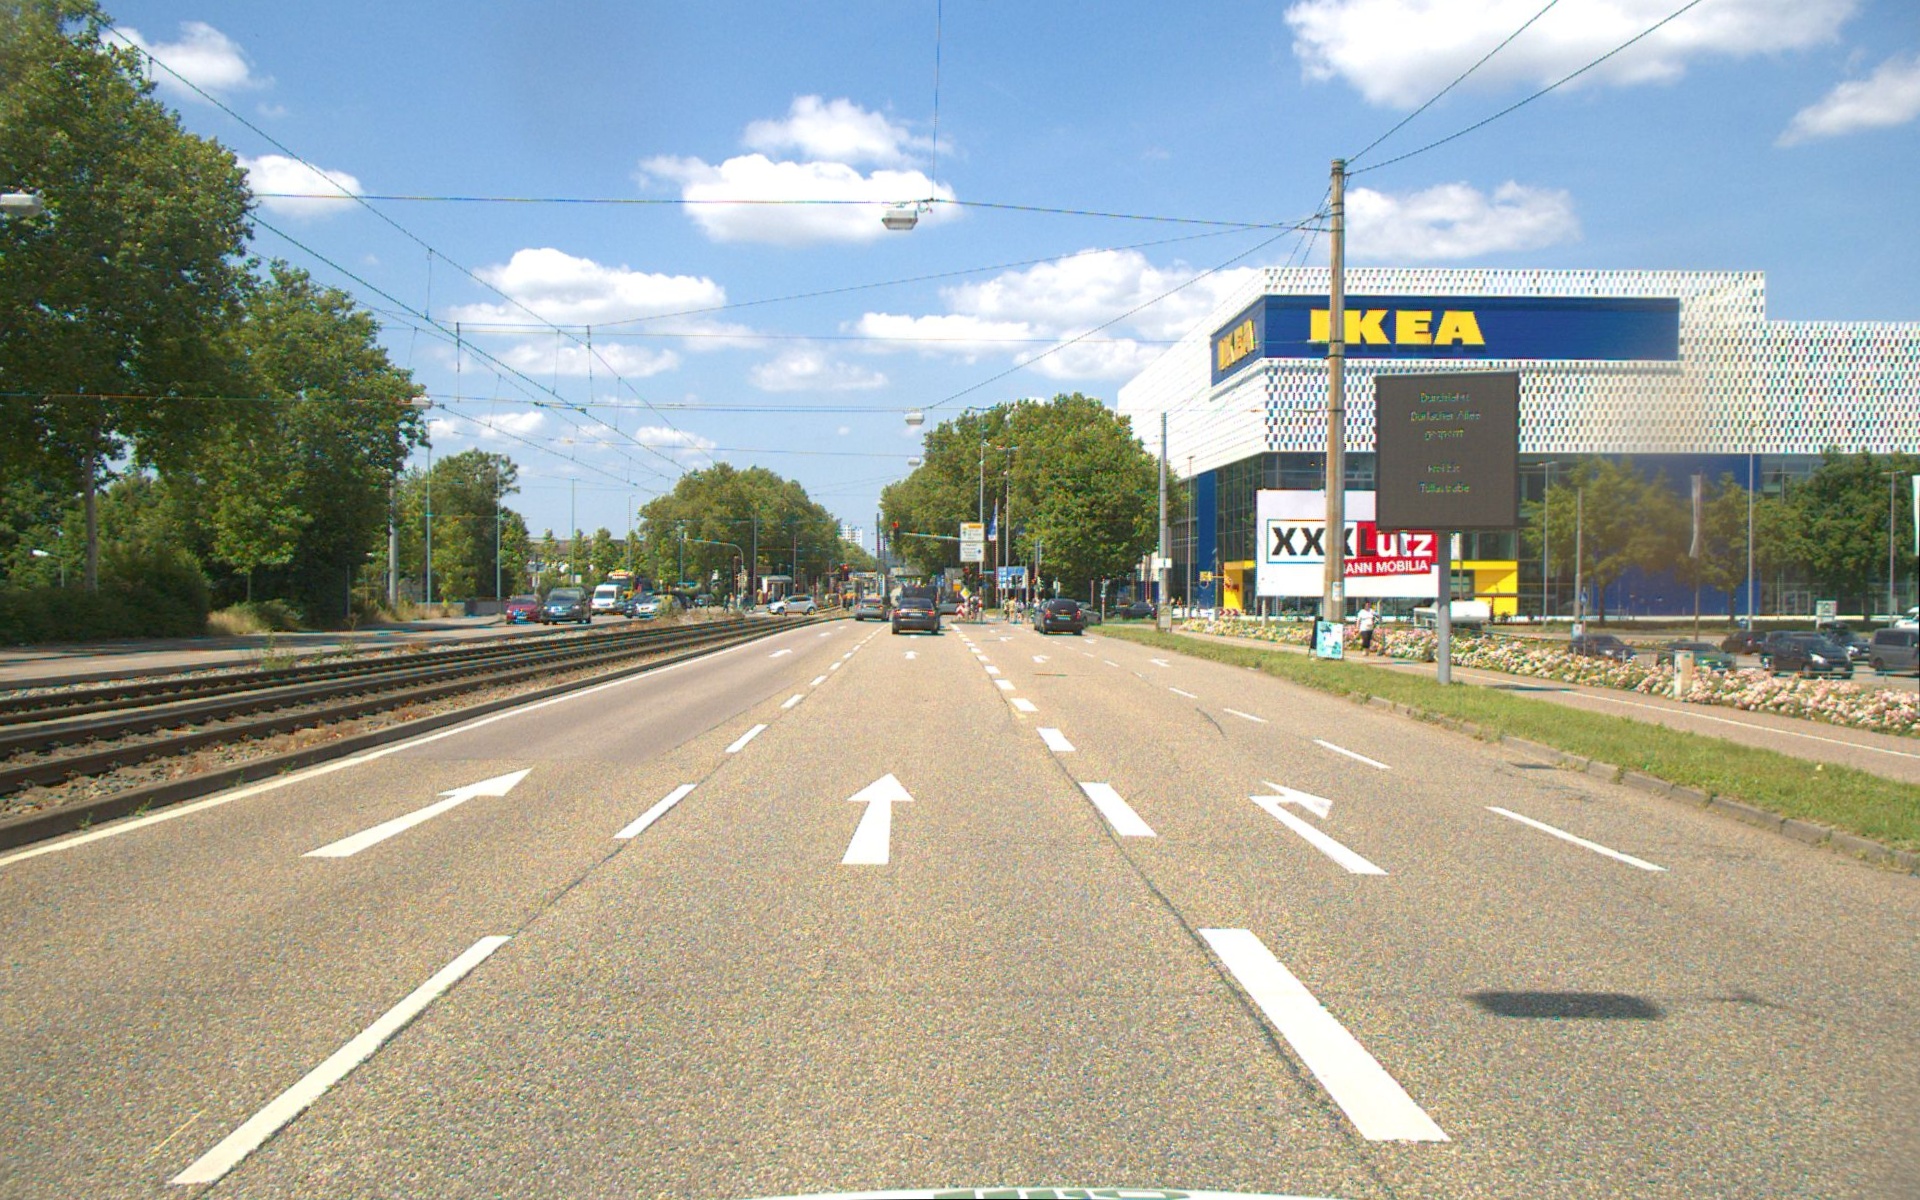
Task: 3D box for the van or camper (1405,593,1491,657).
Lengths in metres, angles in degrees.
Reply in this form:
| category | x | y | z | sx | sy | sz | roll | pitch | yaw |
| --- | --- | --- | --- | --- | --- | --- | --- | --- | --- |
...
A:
| category | x | y | z | sx | sy | sz | roll | pitch | yaw |
| --- | --- | --- | --- | --- | --- | --- | --- | --- | --- |
| van or camper | 24.896 | 1.208 | 84.679 | 2.455 | 3.073 | 7.225 | 1 | 0 | 2 |

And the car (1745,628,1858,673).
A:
| category | x | y | z | sx | sy | sz | roll | pitch | yaw |
| --- | --- | --- | --- | --- | --- | --- | --- | --- | --- |
| car | 34.124 | 2.017 | 67.219 | 1.953 | 1.577 | 4.999 | 2 | 0 | -1 |

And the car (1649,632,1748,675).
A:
| category | x | y | z | sx | sy | sz | roll | pitch | yaw |
| --- | --- | --- | --- | --- | --- | --- | --- | --- | --- |
| car | 29.643 | 2.129 | 66.548 | 1.953 | 1.523 | 4.302 | -2 | 0 | -1 |

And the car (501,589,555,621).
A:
| category | x | y | z | sx | sy | sz | roll | pitch | yaw |
| --- | --- | --- | --- | --- | --- | --- | --- | --- | --- |
| car | -23.645 | 0.260 | 90.711 | 1.954 | 1.699 | 4.465 | -1 | 0 | -3 |

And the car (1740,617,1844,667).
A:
| category | x | y | z | sx | sy | sz | roll | pitch | yaw |
| --- | --- | --- | --- | --- | --- | --- | --- | --- | --- |
| car | 36.510 | 1.812 | 72.727 | 1.953 | 2.049 | 4.999 | -1 | 0 | -1 |

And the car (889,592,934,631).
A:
| category | x | y | z | sx | sy | sz | roll | pitch | yaw |
| --- | --- | --- | --- | --- | --- | --- | --- | --- | --- |
| car | -1.914 | 0.424 | 65.881 | 1.756 | 1.480 | 3.999 | 0 | 0 | -1 |

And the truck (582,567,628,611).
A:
| category | x | y | z | sx | sy | sz | roll | pitch | yaw |
| --- | --- | --- | --- | --- | --- | --- | --- | --- | --- |
| truck | -30.468 | -0.954 | 142.101 | 2.711 | 3.631 | 6.437 | 1 | 0 | -2 |

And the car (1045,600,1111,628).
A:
| category | x | y | z | sx | sy | sz | roll | pitch | yaw |
| --- | --- | --- | --- | --- | --- | --- | --- | --- | --- |
| car | 6.933 | 0.826 | 96.748 | 1.960 | 1.512 | 4.130 | 3 | 0 | 35 |

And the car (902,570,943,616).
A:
| category | x | y | z | sx | sy | sz | roll | pitch | yaw |
| --- | --- | --- | --- | --- | --- | --- | --- | --- | --- |
| car | -1.744 | -0.336 | 75.947 | 1.799 | 1.984 | 3.999 | 1 | 2 | -2 |

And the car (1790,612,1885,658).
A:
| category | x | y | z | sx | sy | sz | roll | pitch | yaw |
| --- | --- | --- | --- | --- | --- | --- | --- | --- | --- |
| car | 43.840 | 1.715 | 82.788 | 1.953 | 2.172 | 4.999 | 2 | 0 | -1 |

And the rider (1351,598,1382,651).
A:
| category | x | y | z | sx | sy | sz | roll | pitch | yaw |
| --- | --- | --- | --- | --- | --- | --- | --- | --- | --- |
| rider | 11.437 | 0.679 | 46.536 | 0.655 | 1.483 | 0.618 | 1 | 0 | -2 |

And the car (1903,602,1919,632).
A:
| category | x | y | z | sx | sy | sz | roll | pitch | yaw |
| --- | --- | --- | --- | --- | --- | --- | --- | --- | --- |
| car | 79.553 | 1.428 | 134.431 | 4.658 | 2.349 | 2.002 | 1 | 0 | 9 |

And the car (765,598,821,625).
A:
| category | x | y | z | sx | sy | sz | roll | pitch | yaw |
| --- | --- | --- | --- | --- | --- | --- | --- | --- | --- |
| car | -12.792 | 0.849 | 126.759 | 3.925 | 1.881 | 1.990 | -2 | 1 | -18 |

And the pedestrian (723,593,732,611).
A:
| category | x | y | z | sx | sy | sz | roll | pitch | yaw |
| --- | --- | --- | --- | --- | --- | --- | --- | --- | --- |
| pedestrian | -18.953 | 0.167 | 134.858 | 0.672 | 1.468 | 0.572 | 1 | 0 | -5 |

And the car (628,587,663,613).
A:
| category | x | y | z | sx | sy | sz | roll | pitch | yaw |
| --- | --- | --- | --- | --- | --- | --- | --- | --- | --- |
| car | -20.595 | -0.028 | 108.368 | 1.652 | 1.611 | 4.056 | -2 | 0 | -3 |

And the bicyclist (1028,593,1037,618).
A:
| category | x | y | z | sx | sy | sz | roll | pitch | yaw |
| --- | --- | --- | --- | --- | --- | --- | --- | --- | --- |
| bicyclist | 5.448 | 0.418 | 123.611 | 0.517 | 1.795 | 0.828 | 1 | 0 | 12 |

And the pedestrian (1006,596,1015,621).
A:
| category | x | y | z | sx | sy | sz | roll | pitch | yaw |
| --- | --- | --- | --- | --- | --- | --- | --- | --- | --- |
| pedestrian | 3.398 | 0.572 | 111.559 | 0.542 | 1.663 | 0.433 | 1 | 0 | 1 |

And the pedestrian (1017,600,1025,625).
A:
| category | x | y | z | sx | sy | sz | roll | pitch | yaw |
| --- | --- | --- | --- | --- | --- | --- | --- | --- | --- |
| pedestrian | 4.117 | 0.860 | 111.622 | 0.436 | 1.663 | 0.430 | 1 | 0 | 1 |

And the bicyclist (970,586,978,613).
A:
| category | x | y | z | sx | sy | sz | roll | pitch | yaw |
| --- | --- | --- | --- | --- | --- | --- | --- | --- | --- |
| bicyclist | 0.943 | -0.008 | 111.668 | 0.518 | 1.820 | 1.088 | 1 | 0 | -1 |

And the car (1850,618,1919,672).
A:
| category | x | y | z | sx | sy | sz | roll | pitch | yaw |
| --- | --- | --- | --- | --- | --- | --- | --- | --- | --- |
| car | 38.835 | 1.821 | 67.461 | 1.953 | 2.049 | 5.533 | 2 | 0 | -1 |

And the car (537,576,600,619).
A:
| category | x | y | z | sx | sy | sz | roll | pitch | yaw |
| --- | --- | --- | --- | --- | --- | --- | --- | --- | --- |
| car | -18.337 | -0.124 | 77.658 | 1.954 | 1.862 | 4.966 | -2 | 0 | -3 |

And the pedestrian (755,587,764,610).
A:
| category | x | y | z | sx | sy | sz | roll | pitch | yaw |
| --- | --- | --- | --- | --- | --- | --- | --- | --- | --- |
| pedestrian | -18.074 | -0.110 | 149.083 | 0.672 | 2.049 | 0.572 | 1 | 0 | -6 |

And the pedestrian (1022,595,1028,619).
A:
| category | x | y | z | sx | sy | sz | roll | pitch | yaw |
| --- | --- | --- | --- | --- | --- | --- | --- | --- | --- |
| pedestrian | 4.499 | 0.483 | 113.760 | 0.373 | 1.663 | 0.377 | 1 | 0 | 1 |

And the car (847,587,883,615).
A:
| category | x | y | z | sx | sy | sz | roll | pitch | yaw |
| --- | --- | --- | --- | --- | --- | --- | --- | --- | --- |
| car | -5.652 | 0.048 | 98.964 | 1.953 | 1.512 | 3.999 | 2 | 0 | -2 |

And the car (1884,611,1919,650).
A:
| category | x | y | z | sx | sy | sz | roll | pitch | yaw |
| --- | --- | --- | --- | --- | --- | --- | --- | --- | --- |
| car | 48.543 | 1.563 | 82.575 | 1.953 | 1.885 | 4.999 | 2 | 0 | -1 |

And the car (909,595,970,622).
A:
| category | x | y | z | sx | sy | sz | roll | pitch | yaw |
| --- | --- | --- | --- | --- | --- | --- | --- | --- | --- |
| car | -1.632 | 0.666 | 130.074 | 4.335 | 1.951 | 1.987 | 2 | 0 | -22 |

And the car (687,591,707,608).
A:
| category | x | y | z | sx | sy | sz | roll | pitch | yaw |
| --- | --- | --- | --- | --- | --- | --- | --- | --- | --- |
| car | -31.085 | -0.030 | 195.469 | 1.781 | 1.916 | 3.999 | 1 | 0 | -2 |

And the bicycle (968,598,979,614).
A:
| category | x | y | z | sx | sy | sz | roll | pitch | yaw |
| --- | --- | --- | --- | --- | --- | --- | --- | --- | --- |
| bicycle | 0.928 | 0.401 | 111.892 | 0.674 | 1.011 | 2.751 | 1 | 0 | -1 |

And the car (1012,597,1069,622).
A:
| category | x | y | z | sx | sy | sz | roll | pitch | yaw |
| --- | --- | --- | --- | --- | --- | --- | --- | --- | --- |
| car | 5.204 | 0.622 | 106.388 | 1.956 | 1.512 | 4.383 | 3 | 0 | 28 |

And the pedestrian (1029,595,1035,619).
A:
| category | x | y | z | sx | sy | sz | roll | pitch | yaw |
| --- | --- | --- | --- | --- | --- | --- | --- | --- | --- |
| pedestrian | 4.935 | 0.475 | 113.724 | 0.332 | 1.663 | 0.377 | 1 | 0 | 1 |

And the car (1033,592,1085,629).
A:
| category | x | y | z | sx | sy | sz | roll | pitch | yaw |
| --- | --- | --- | --- | --- | --- | --- | --- | --- | --- |
| car | 4.401 | 0.457 | 74.078 | 1.953 | 1.512 | 3.999 | 2 | 0 | -2 |

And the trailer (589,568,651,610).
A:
| category | x | y | z | sx | sy | sz | roll | pitch | yaw |
| --- | --- | --- | --- | --- | --- | --- | --- | --- | --- |
| trailer | -30.713 | -0.962 | 150.179 | 2.711 | 3.580 | 15.872 | 1 | 0 | -2 |

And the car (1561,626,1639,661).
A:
| category | x | y | z | sx | sy | sz | roll | pitch | yaw |
| --- | --- | --- | --- | --- | --- | --- | --- | --- | --- |
| car | 31.688 | 2.124 | 82.048 | 1.953 | 1.564 | 4.768 | 0 | 0 | -1 |

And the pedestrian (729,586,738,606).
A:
| category | x | y | z | sx | sy | sz | roll | pitch | yaw |
| --- | --- | --- | --- | --- | --- | --- | --- | --- | --- |
| pedestrian | -18.356 | -0.327 | 134.062 | 0.672 | 1.666 | 0.572 | 1 | 0 | -5 |
